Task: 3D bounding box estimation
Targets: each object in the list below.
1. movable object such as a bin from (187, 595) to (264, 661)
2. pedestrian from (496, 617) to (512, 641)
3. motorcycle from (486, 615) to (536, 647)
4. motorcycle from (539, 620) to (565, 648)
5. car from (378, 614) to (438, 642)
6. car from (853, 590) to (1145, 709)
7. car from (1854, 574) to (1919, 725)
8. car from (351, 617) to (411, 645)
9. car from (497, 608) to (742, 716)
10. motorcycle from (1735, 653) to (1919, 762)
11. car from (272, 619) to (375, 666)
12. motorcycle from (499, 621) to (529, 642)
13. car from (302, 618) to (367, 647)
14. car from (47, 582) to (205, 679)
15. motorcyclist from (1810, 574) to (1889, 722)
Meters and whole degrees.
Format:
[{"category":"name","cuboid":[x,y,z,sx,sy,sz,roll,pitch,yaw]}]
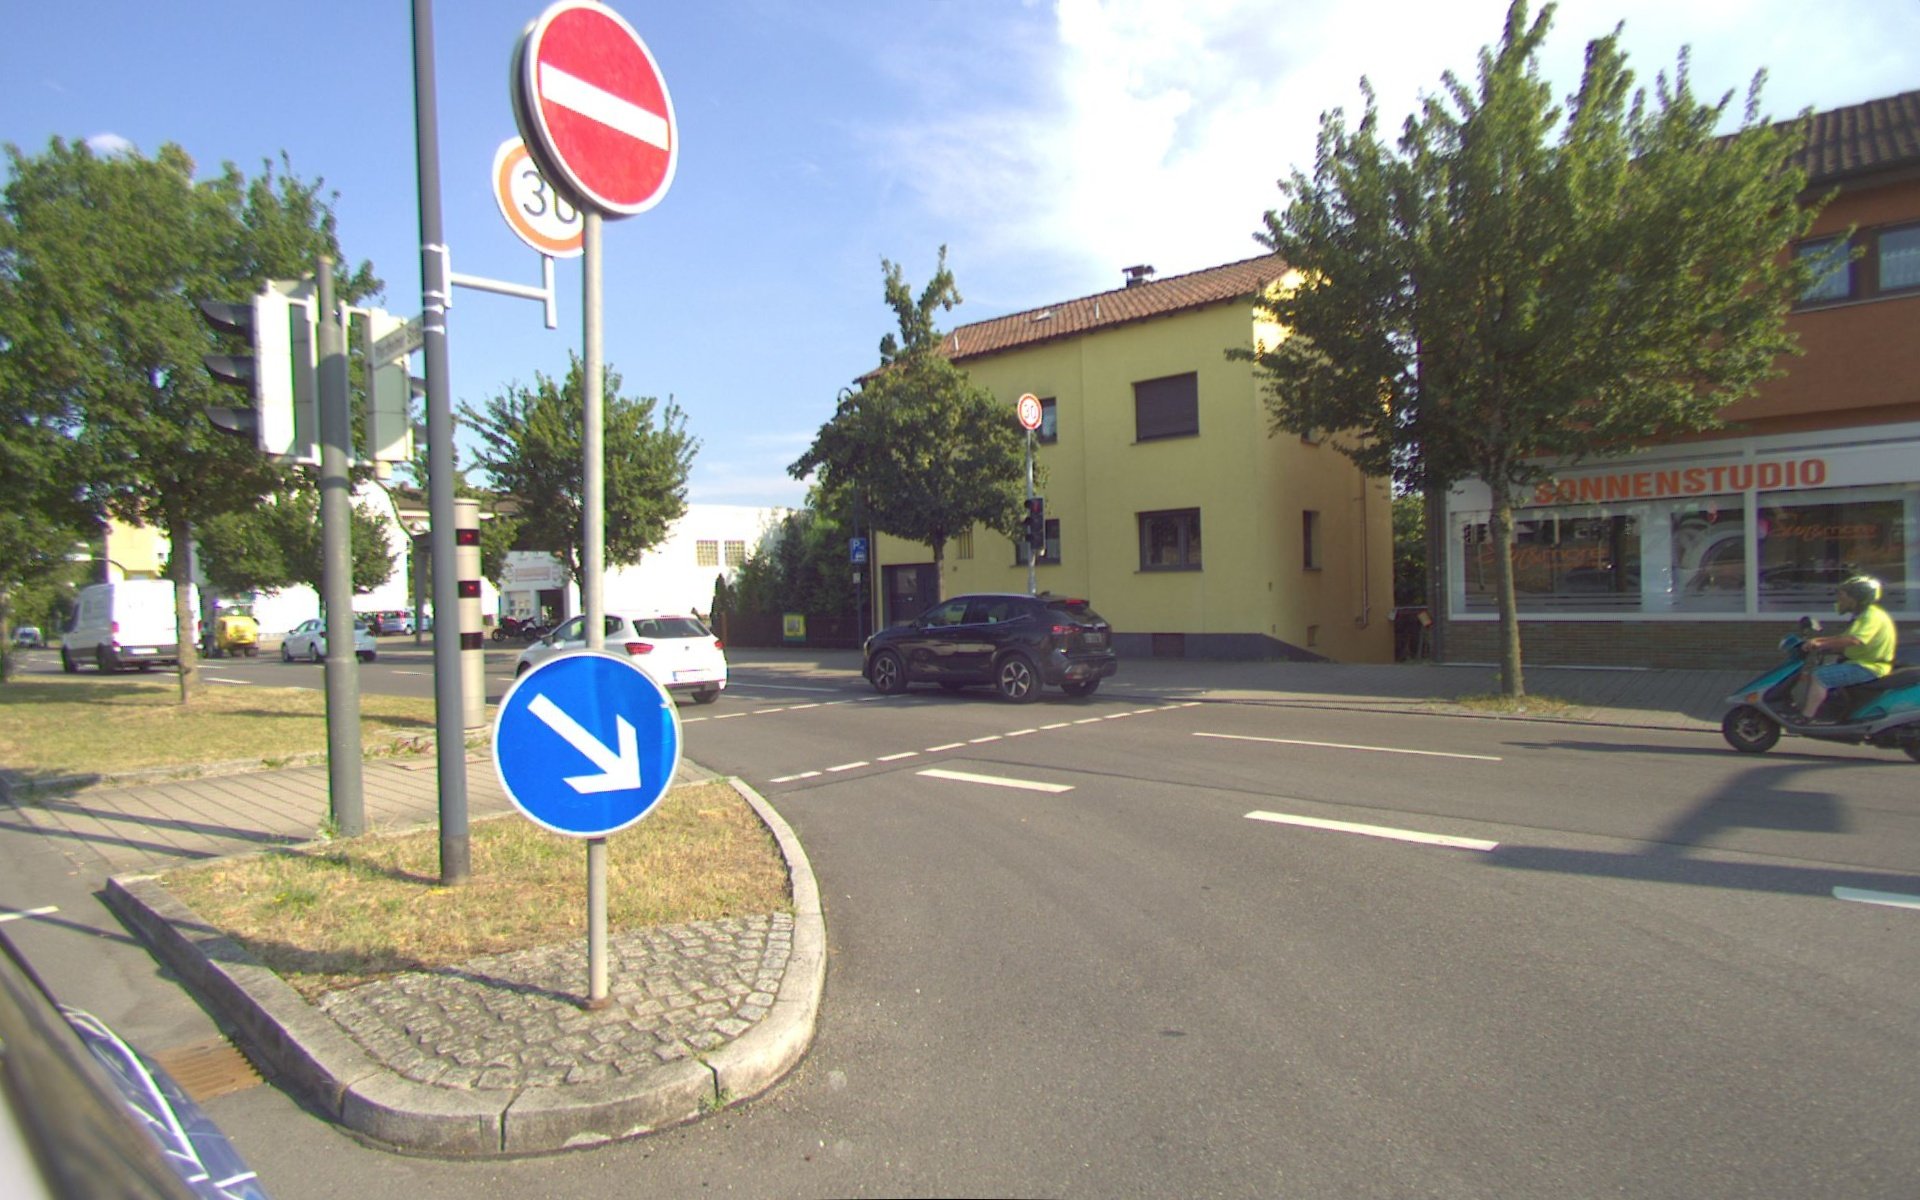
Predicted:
[{"category":"movable object such as a bin","cuboid":[-29.648,1.120,40.808,4.977,2.480,1.536,-2,-2,42]},{"category":"pedestrian","cuboid":[-25.483,1.610,56.537,0.583,1.350,0.589,-2,-1,33]},{"category":"motorcycle","cuboid":[-19.979,1.369,45.004,2.095,1.332,0.487,-2,-1,10]},{"category":"motorcycle","cuboid":[-16.906,1.381,41.959,0.542,1.107,2.052,-2,-1,-10]},{"category":"car","cuboid":[-32.199,1.641,59.127,1.599,1.555,3.429,-1,-1,2]},{"category":"car","cuboid":[0.485,0.716,15.910,4.460,1.607,1.835,-2,-1,43]},{"category":"car","cuboid":[11.346,0.459,9.842,3.940,1.424,1.777,-1,3,42]},{"category":"car","cuboid":[-34.823,1.858,60.934,1.566,1.576,3.430,-1,-1,2]},{"category":"car","cuboid":[-5.277,0.881,15.461,3.997,1.422,1.739,-2,-1,40]},{"category":"motorcycle","cuboid":[7.810,0.909,8.723,1.761,0.867,0.408,-2,-1,39]},{"category":"car","cuboid":[-21.066,1.382,33.423,4.210,1.425,1.674,-2,-1,40]},{"category":"motorcycle","cuboid":[-25.106,1.785,56.925,2.113,1.155,0.483,-3,-1,34]},{"category":"car","cuboid":[-37.197,1.898,60.229,1.835,1.638,3.411,-1,-1,-1]},{"category":"car","cuboid":[-23.422,0.844,28.340,5.467,2.494,2.066,-2,-1,36]},{"category":"motorcyclist","cuboid":[7.723,0.405,8.801,0.461,1.238,0.399,-2,-1,38]}]
